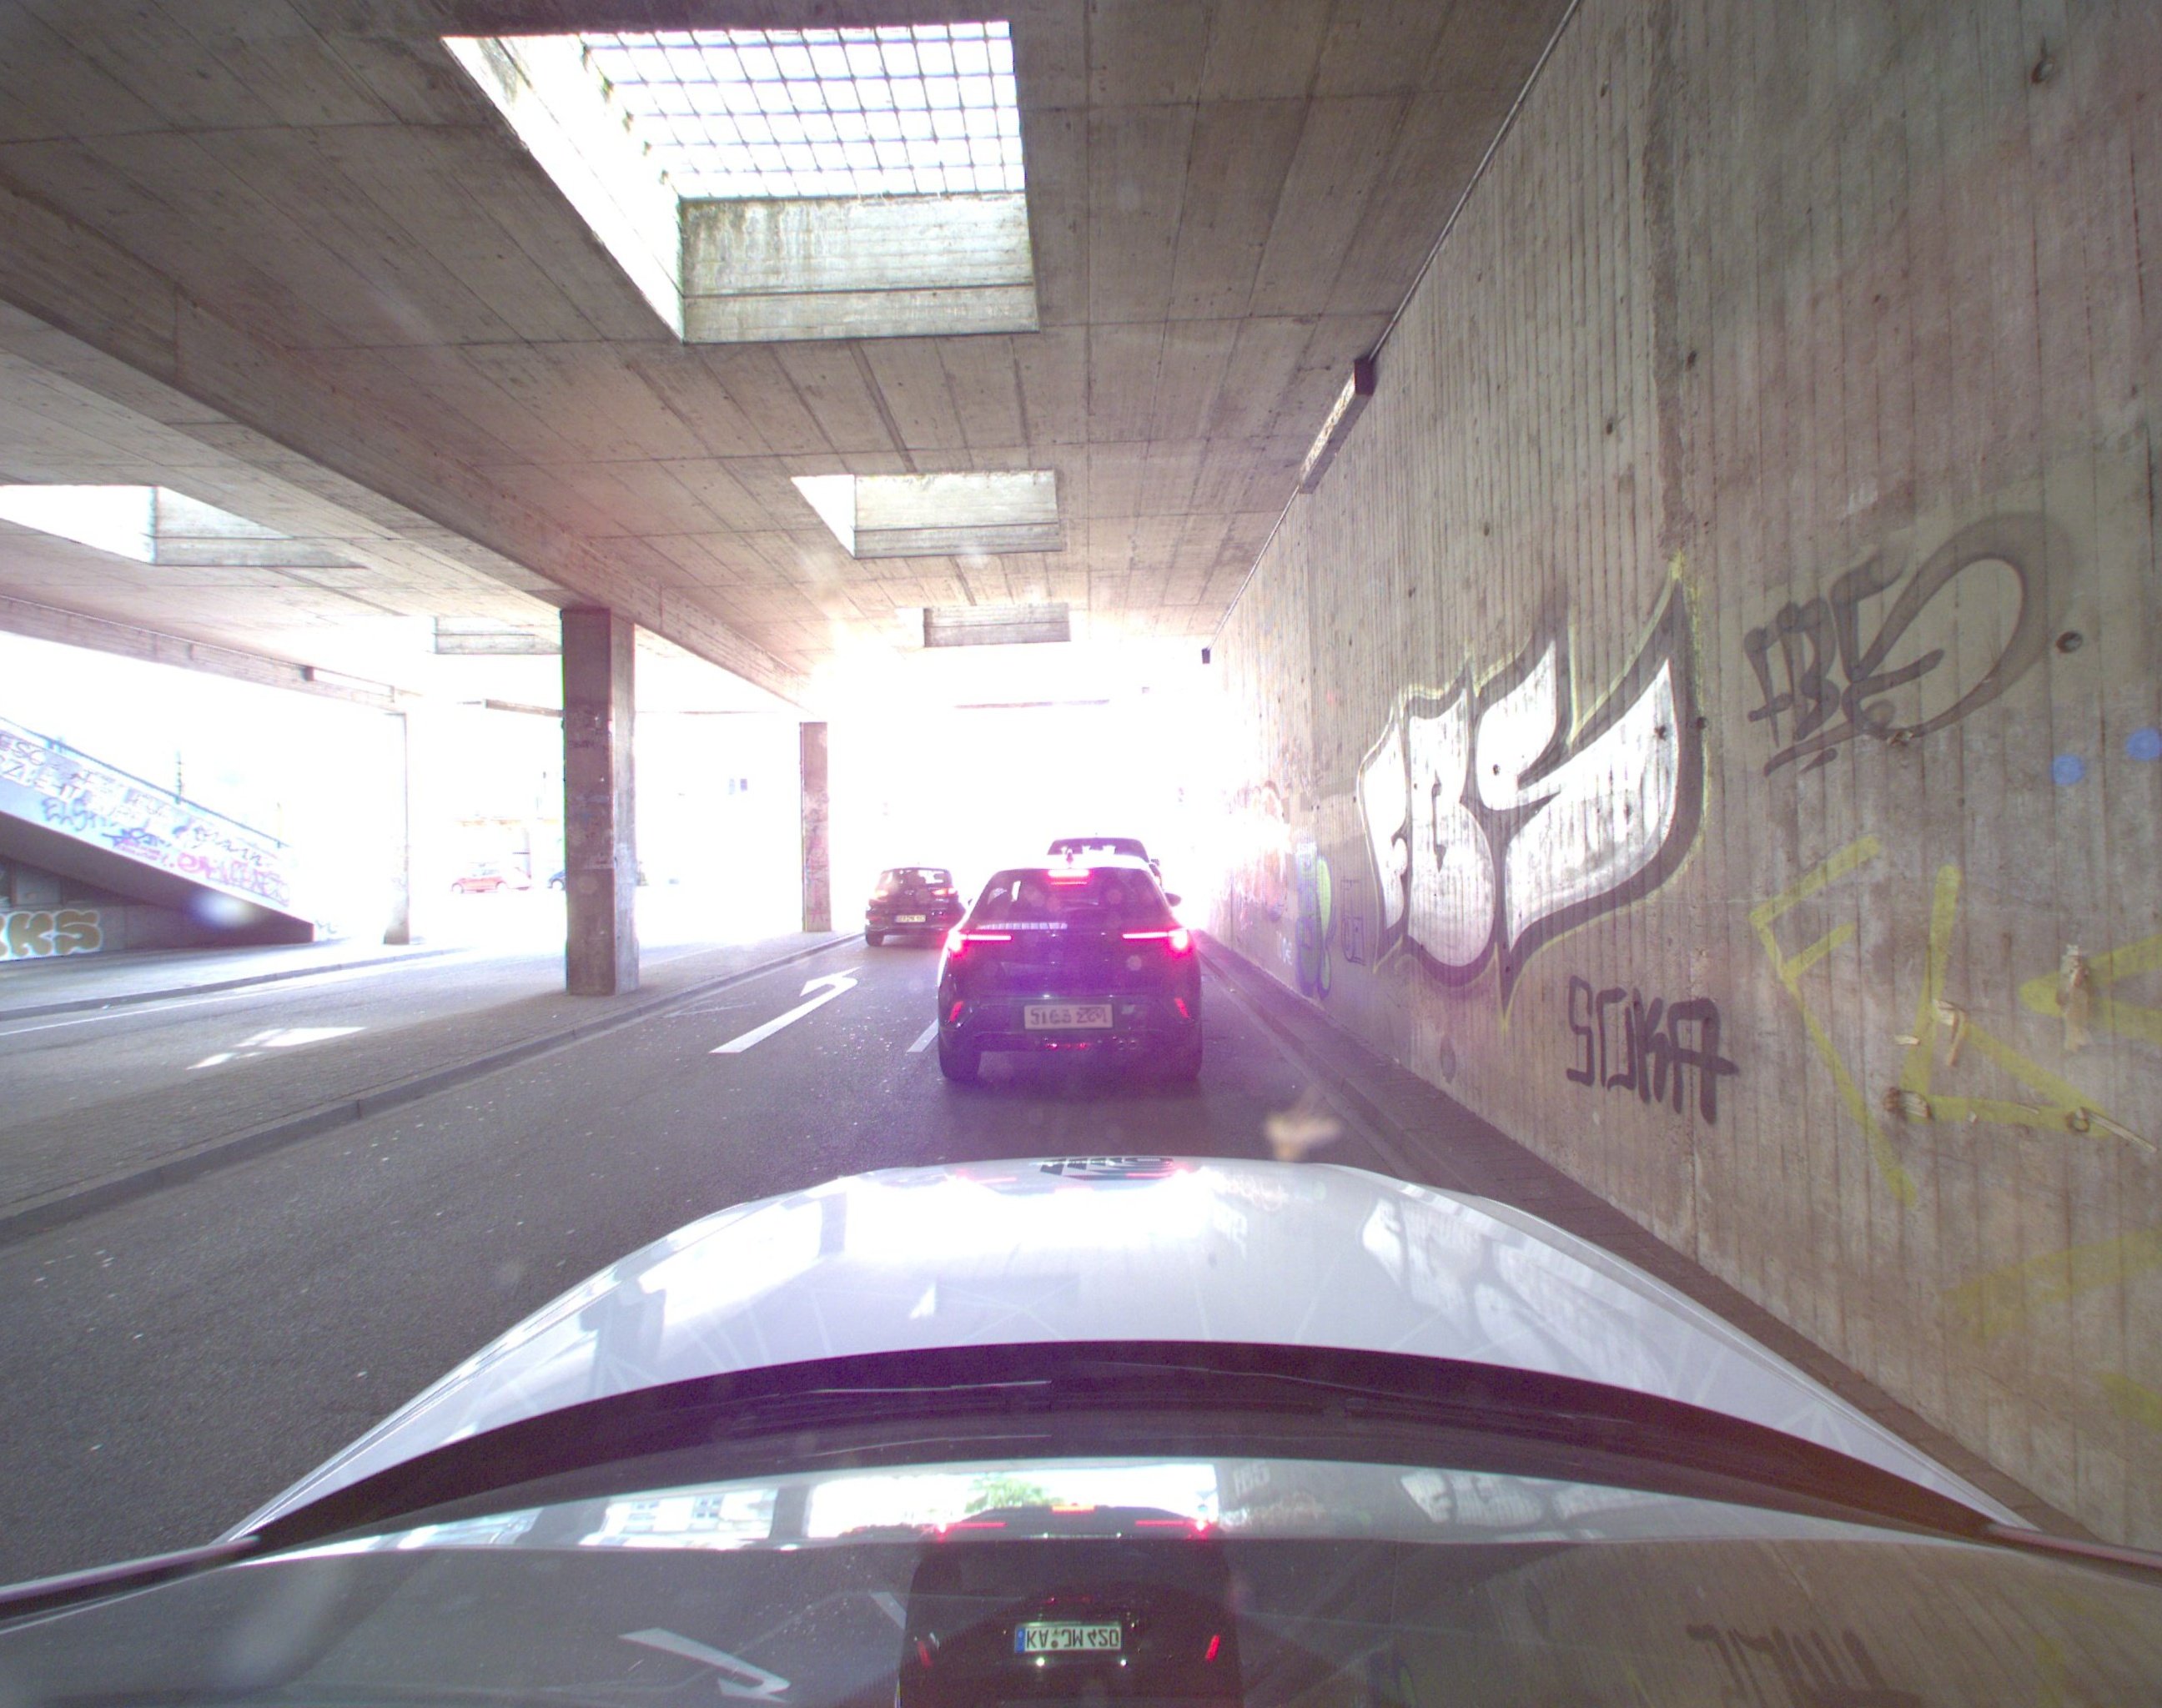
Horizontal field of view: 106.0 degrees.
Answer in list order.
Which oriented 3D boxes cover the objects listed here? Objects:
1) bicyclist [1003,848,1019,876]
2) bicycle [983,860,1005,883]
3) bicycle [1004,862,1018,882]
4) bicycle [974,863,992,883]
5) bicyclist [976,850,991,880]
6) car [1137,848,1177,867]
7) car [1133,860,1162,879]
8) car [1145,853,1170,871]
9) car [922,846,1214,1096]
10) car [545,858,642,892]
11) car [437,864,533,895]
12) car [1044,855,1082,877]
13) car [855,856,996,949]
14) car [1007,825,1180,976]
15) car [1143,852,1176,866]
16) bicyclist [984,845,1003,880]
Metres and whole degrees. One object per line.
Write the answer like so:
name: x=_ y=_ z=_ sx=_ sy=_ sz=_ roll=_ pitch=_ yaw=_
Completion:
bicyclist: x=-4.212 y=0.498 z=48.985 sx=0.778 sy=1.660 sz=1.032 roll=-1 pitch=0 yaw=3
bicycle: x=-4.424 y=0.877 z=41.528 sx=0.695 sy=1.090 sz=1.863 roll=-1 pitch=2 yaw=5
bicycle: x=-4.208 y=1.070 z=49.028 sx=0.539 sy=1.123 sz=2.060 roll=-1 pitch=0 yaw=3
bicycle: x=-5.434 y=1.055 z=45.391 sx=0.523 sy=1.090 sz=1.864 roll=-1 pitch=0 yaw=7
bicyclist: x=-5.448 y=0.618 z=45.472 sx=0.602 sy=1.632 sz=0.911 roll=-1 pitch=0 yaw=7
car: x=10.791 y=0.503 z=116.141 sx=5.267 sy=2.545 sz=1.976 roll=-2 pitch=-1 yaw=-14
car: x=5.575 y=1.266 z=67.944 sx=1.695 sy=1.452 sz=3.865 roll=-1 pitch=0 yaw=14
car: x=7.025 y=0.712 z=74.788 sx=1.693 sy=1.512 sz=3.877 roll=-3 pitch=-1 yaw=13
car: x=-0.024 y=0.719 z=6.877 sx=1.775 sy=1.517 sz=3.757 roll=-1 pitch=0 yaw=2
car: x=-27.009 y=1.141 z=45.226 sx=4.144 sy=1.724 sz=1.964 roll=-1 pitch=1 yaw=2
car: x=-33.031 y=1.388 z=45.216 sx=3.863 sy=1.540 sz=1.900 roll=-1 pitch=1 yaw=2
car: x=-1.212 y=0.794 z=56.252 sx=1.645 sy=1.441 sz=3.478 roll=-2 pitch=0 yaw=16
car: x=-2.756 y=0.794 z=15.428 sx=1.795 sy=1.451 sz=4.325 roll=-2 pitch=0 yaw=0
car: x=0.237 y=0.577 z=12.645 sx=2.125 sy=1.835 sz=4.942 roll=-1 pitch=0 yaw=2
car: x=12.914 y=0.823 z=133.982 sx=4.905 sy=2.083 sz=1.970 roll=-2 pitch=-1 yaw=-23
bicyclist: x=-4.453 y=0.439 z=41.394 sx=0.742 sy=1.711 sz=0.968 roll=-1 pitch=1 yaw=4
